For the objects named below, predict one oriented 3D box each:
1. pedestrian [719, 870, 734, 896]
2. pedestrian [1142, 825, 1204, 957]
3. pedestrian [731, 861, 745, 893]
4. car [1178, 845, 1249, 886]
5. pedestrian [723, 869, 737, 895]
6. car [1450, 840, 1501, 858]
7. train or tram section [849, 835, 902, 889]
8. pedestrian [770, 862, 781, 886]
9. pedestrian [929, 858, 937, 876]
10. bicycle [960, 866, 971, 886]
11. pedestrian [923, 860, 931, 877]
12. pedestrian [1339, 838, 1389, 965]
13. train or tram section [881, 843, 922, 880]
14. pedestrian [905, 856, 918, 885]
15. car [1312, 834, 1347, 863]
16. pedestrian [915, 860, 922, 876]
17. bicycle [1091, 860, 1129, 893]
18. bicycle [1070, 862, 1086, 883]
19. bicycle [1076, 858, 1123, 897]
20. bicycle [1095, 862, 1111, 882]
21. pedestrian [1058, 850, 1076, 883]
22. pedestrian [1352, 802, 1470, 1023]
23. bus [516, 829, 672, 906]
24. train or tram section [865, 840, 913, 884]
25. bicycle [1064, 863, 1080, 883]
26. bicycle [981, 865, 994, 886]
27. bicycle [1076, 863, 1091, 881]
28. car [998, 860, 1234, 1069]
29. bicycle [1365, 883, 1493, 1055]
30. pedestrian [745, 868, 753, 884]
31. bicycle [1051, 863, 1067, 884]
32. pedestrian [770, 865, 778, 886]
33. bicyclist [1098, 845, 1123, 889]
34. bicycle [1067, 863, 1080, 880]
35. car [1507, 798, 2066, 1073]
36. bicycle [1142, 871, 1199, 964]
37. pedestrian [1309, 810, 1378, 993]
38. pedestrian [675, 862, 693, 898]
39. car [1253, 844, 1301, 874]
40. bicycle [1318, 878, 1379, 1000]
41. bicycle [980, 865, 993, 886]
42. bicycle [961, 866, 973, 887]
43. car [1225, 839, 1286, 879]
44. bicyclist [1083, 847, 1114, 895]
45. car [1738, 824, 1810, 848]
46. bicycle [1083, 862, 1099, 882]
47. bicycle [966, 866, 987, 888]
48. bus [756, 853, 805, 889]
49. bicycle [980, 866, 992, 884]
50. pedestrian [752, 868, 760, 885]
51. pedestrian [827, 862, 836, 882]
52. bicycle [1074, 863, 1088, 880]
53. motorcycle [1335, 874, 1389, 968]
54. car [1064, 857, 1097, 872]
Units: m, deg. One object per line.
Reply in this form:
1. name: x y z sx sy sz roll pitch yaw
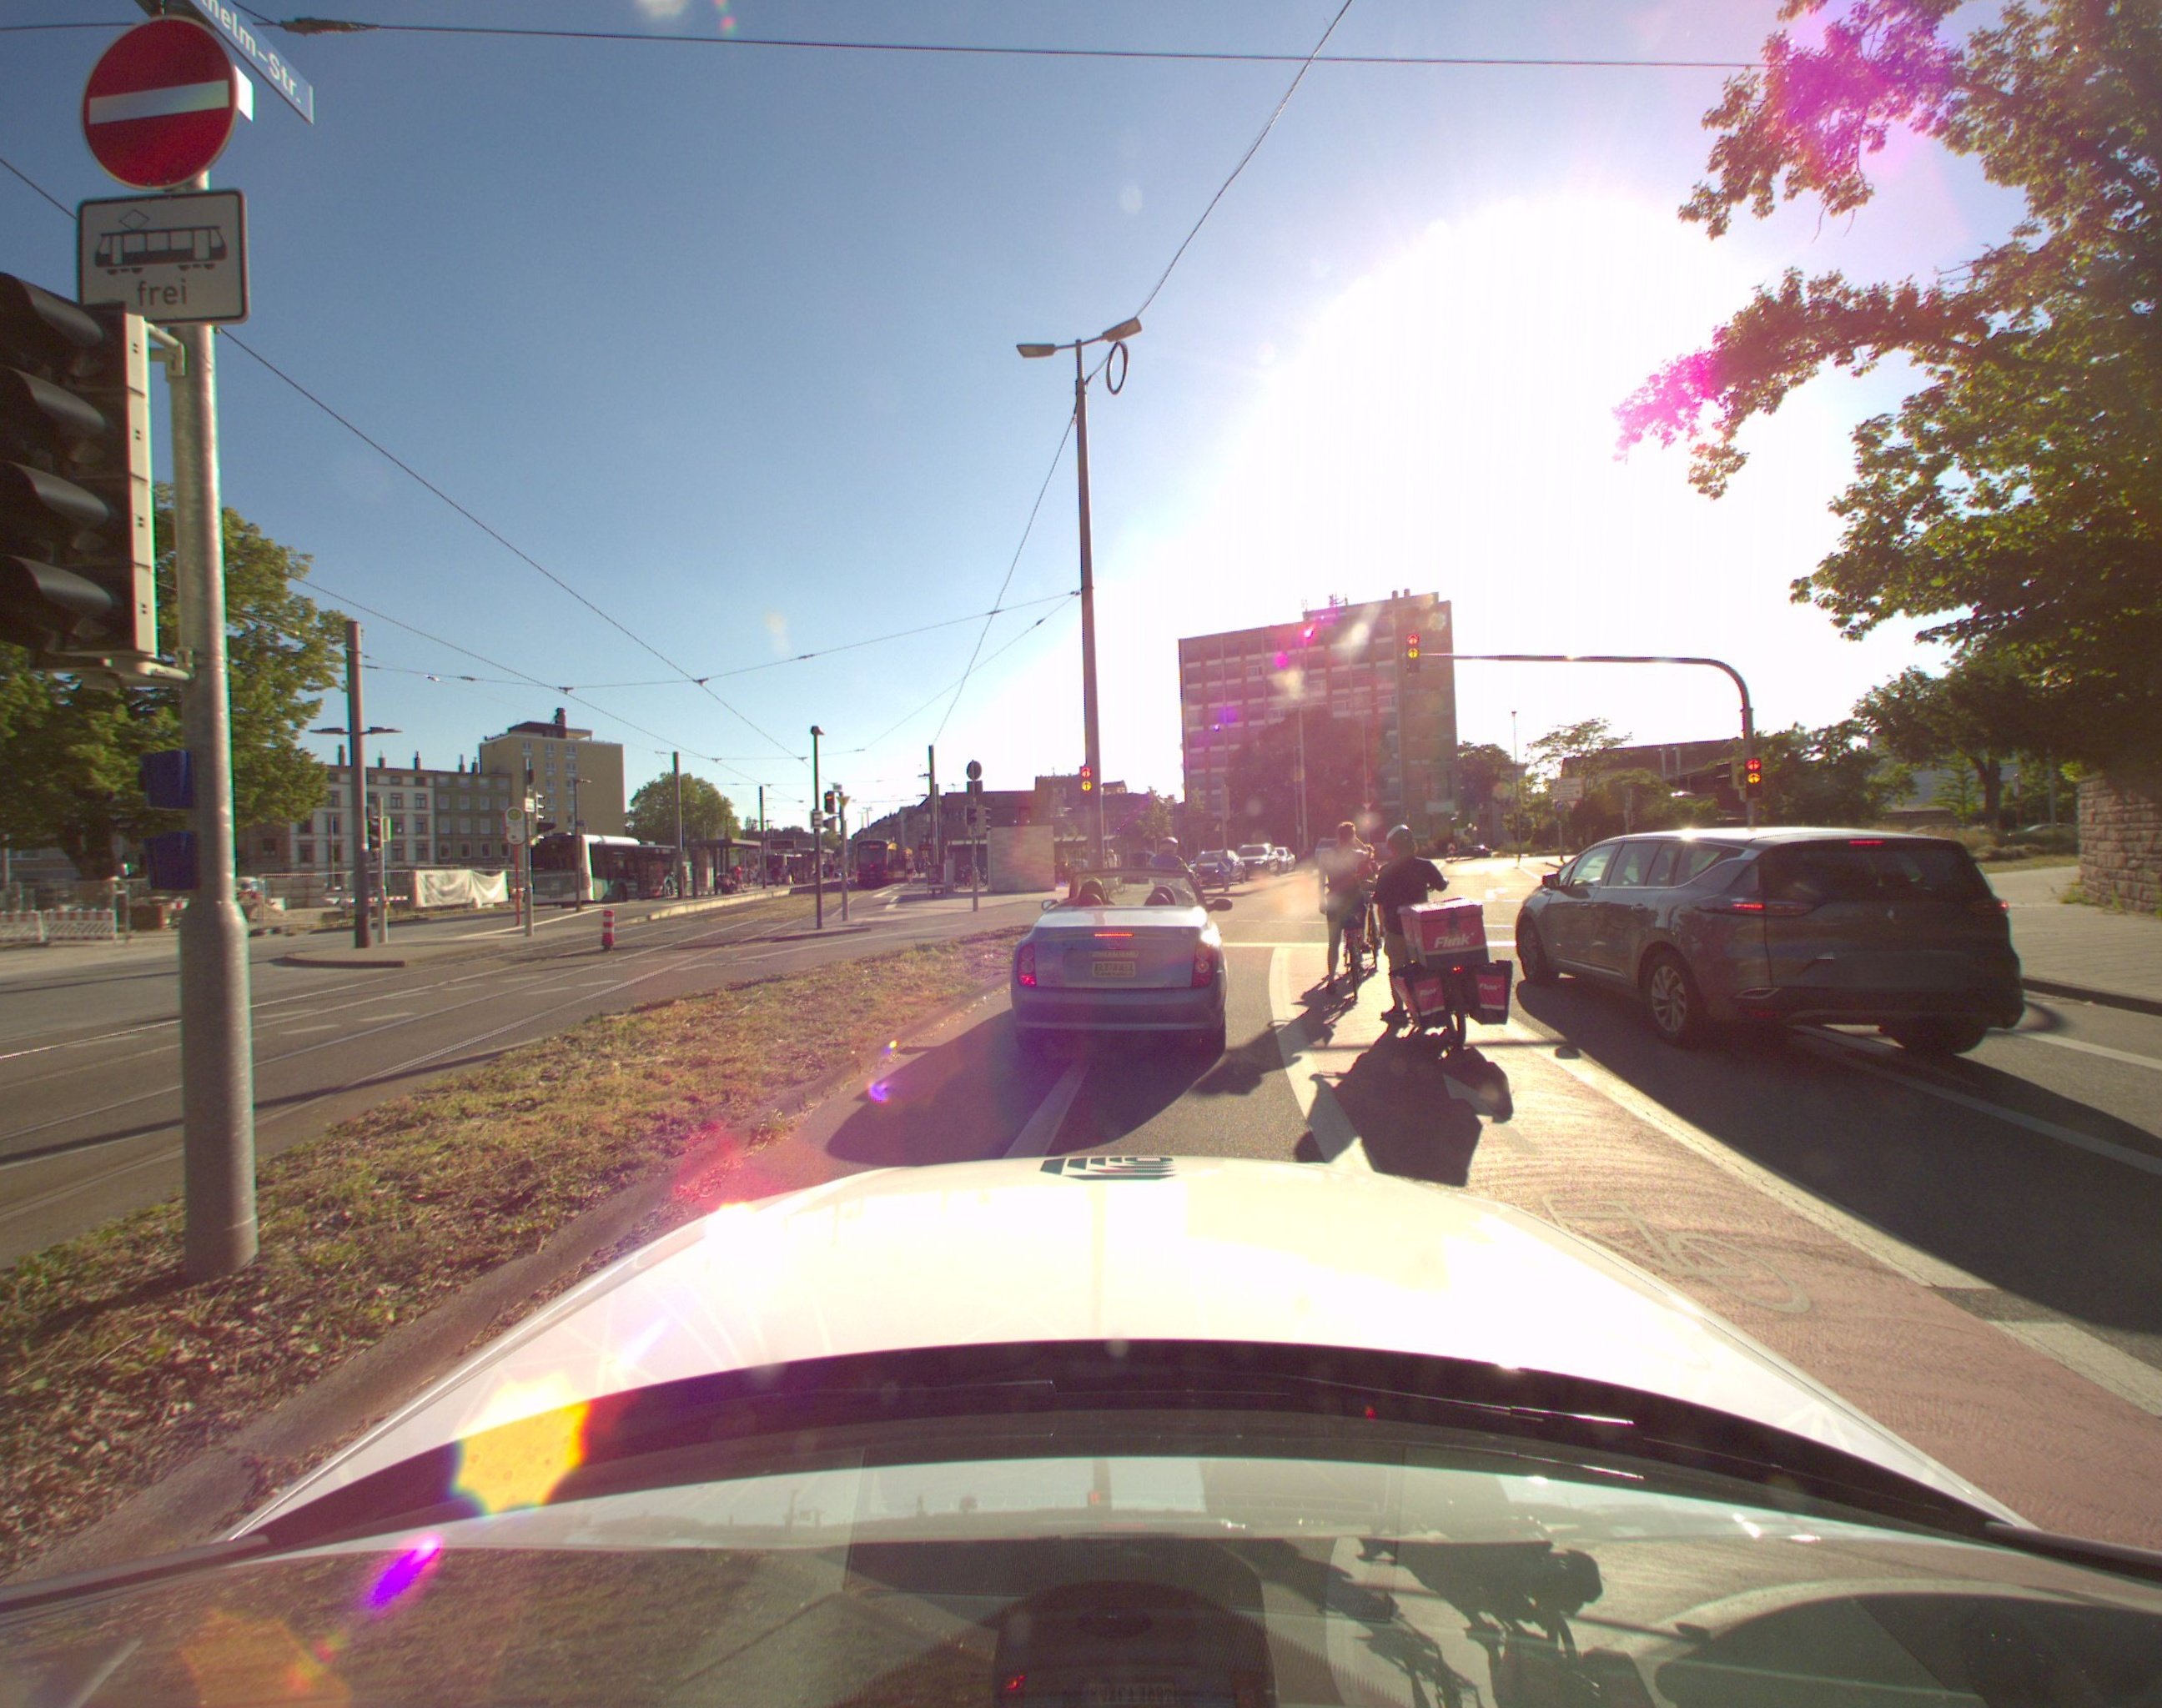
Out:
1. pedestrian: -18.604 1.519 42.771 0.617 1.340 0.438 -2 -1 -15
2. pedestrian: 1.369 0.526 12.052 0.828 1.869 0.923 -1 -1 10
3. pedestrian: -19.112 1.273 45.334 0.571 1.749 0.636 -2 -1 -15
4. car: 5.546 0.467 33.638 1.720 1.574 3.948 -1 -1 28
5. pedestrian: -18.733 1.472 43.458 0.571 1.346 0.636 -2 -1 -15
6. car: 39.614 -0.488 81.860 4.337 1.530 1.817 -4 -1 35
7. train or tram section: -15.262 0.580 61.211 2.881 3.597 12.158 0 -1 -10
8. pedestrian: -23.210 1.504 61.878 0.641 1.749 0.567 -2 -1 -25
9. pedestrian: -15.203 1.352 83.578 0.639 1.749 0.732 -2 -1 -17
10. bicycle: -6.561 1.249 46.289 0.606 1.115 1.891 0 -1 -8
11. pedestrian: -15.739 1.459 83.194 0.639 1.749 0.732 -2 -1 -17
12. pedestrian: 3.770 0.605 10.841 0.583 1.598 1.030 -1 -1 19
13. train or tram section: -18.603 0.810 85.224 3.037 3.597 12.021 0 0 -7
14. pedestrian: -10.313 1.013 49.610 0.639 1.749 0.569 -2 -1 -17
15. car: 18.843 -0.422 61.578 1.891 1.945 4.733 -4 -1 24
16. pedestrian: -18.074 1.528 90.530 0.604 1.749 0.830 -2 -1 -6
17. bicycle: 1.153 0.845 31.568 0.668 1.180 2.195 -3 0 24
18. bicycle: -0.180 1.013 45.406 0.607 1.115 1.890 0 -1 -10
19. bicycle: 0.674 0.810 28.965 0.668 1.250 2.471 -5 -1 24
20. bicycle: 1.238 1.005 45.675 0.606 1.115 1.892 0 -1 -7
21. pedestrian: -0.800 0.701 47.010 0.901 1.869 0.684 0 -1 -11
22. pedestrian: 2.977 0.502 7.442 0.801 1.869 0.959 -1 -1 10
23. bus: -22.371 0.571 38.217 2.652 3.135 9.617 0 -1 -8
24. train or tram section: -17.067 0.702 73.252 3.010 3.597 12.165 0 0 -8
25. bicycle: -0.543 1.091 47.347 0.607 1.115 1.890 0 -1 -10
26. bicycle: -5.375 1.223 46.730 0.607 1.115 1.890 0 -1 -10
27. bicycle: 0.129 1.136 51.409 0.607 1.115 1.890 0 -1 -10
28. car: 0.549 0.782 7.791 1.650 1.441 4.164 -1 -1 9
29. bicycle: 2.934 0.872 7.090 0.550 1.171 2.380 -1 -1 12
30. pedestrian: -35.049 2.320 85.993 0.637 1.749 0.571 -2 -1 -5
31. bicycle: -1.254 1.080 45.290 0.607 1.115 1.890 0 -1 -10
32. pedestrian: -25.310 1.775 67.166 0.571 1.749 0.636 -2 -1 -17
33. bicyclist: 1.146 0.489 31.597 0.702 1.657 0.747 -3 -1 24
34. bicycle: -0.559 1.203 56.906 0.607 1.115 1.890 0 -1 -10
35. car: 5.540 0.522 7.315 1.820 1.689 4.381 -1 -1 10
36. bicycle: 1.357 0.865 11.983 0.604 1.191 2.422 -1 -1 12
37. pedestrian: 2.836 0.489 8.834 0.654 1.869 0.876 -1 -1 17
38. pedestrian: -19.622 1.270 40.259 0.536 1.749 0.559 -2 -1 -4
39. car: 11.165 0.250 46.212 1.678 1.560 4.004 -3 0 28
40. bicycle: 2.933 0.862 9.017 0.559 1.151 1.958 -1 -1 17
41. bicycle: -5.178 1.192 44.661 0.607 1.115 1.890 0 -1 -10
42. bicycle: -6.213 1.230 44.354 0.607 1.115 1.890 0 -1 -10
43. car: 8.531 0.207 39.566 1.745 1.706 4.557 -4 -1 26
44. bicyclist: 0.627 0.594 28.899 0.702 1.657 0.906 -5 -2 24
45. car: 54.060 -1.391 63.635 3.949 1.530 1.816 -4 -1 29
46. bicycle: 0.556 1.054 47.709 0.607 1.115 1.890 0 -1 -10
47. bicycle: -5.467 1.202 42.731 0.603 1.115 1.901 0 -1 8
48. bus: -29.670 1.584 80.942 2.723 3.274 13.409 0 -1 -12
49. bicycle: -5.902 1.285 50.619 0.607 1.115 1.890 0 -1 -10
50. pedestrian: -34.165 2.313 85.651 0.638 1.749 0.570 -2 -1 -10
51. pedestrian: -22.247 1.585 72.617 0.641 1.749 0.567 -2 -1 -25
52. bicycle: -0.032 1.130 53.386 0.607 1.115 1.890 0 -1 -10
53. motorcycle: 3.827 0.843 11.100 0.608 1.097 2.371 -1 -1 19
54. car: -0.074 1.176 88.790 1.653 1.560 3.559 -2 0 -37
